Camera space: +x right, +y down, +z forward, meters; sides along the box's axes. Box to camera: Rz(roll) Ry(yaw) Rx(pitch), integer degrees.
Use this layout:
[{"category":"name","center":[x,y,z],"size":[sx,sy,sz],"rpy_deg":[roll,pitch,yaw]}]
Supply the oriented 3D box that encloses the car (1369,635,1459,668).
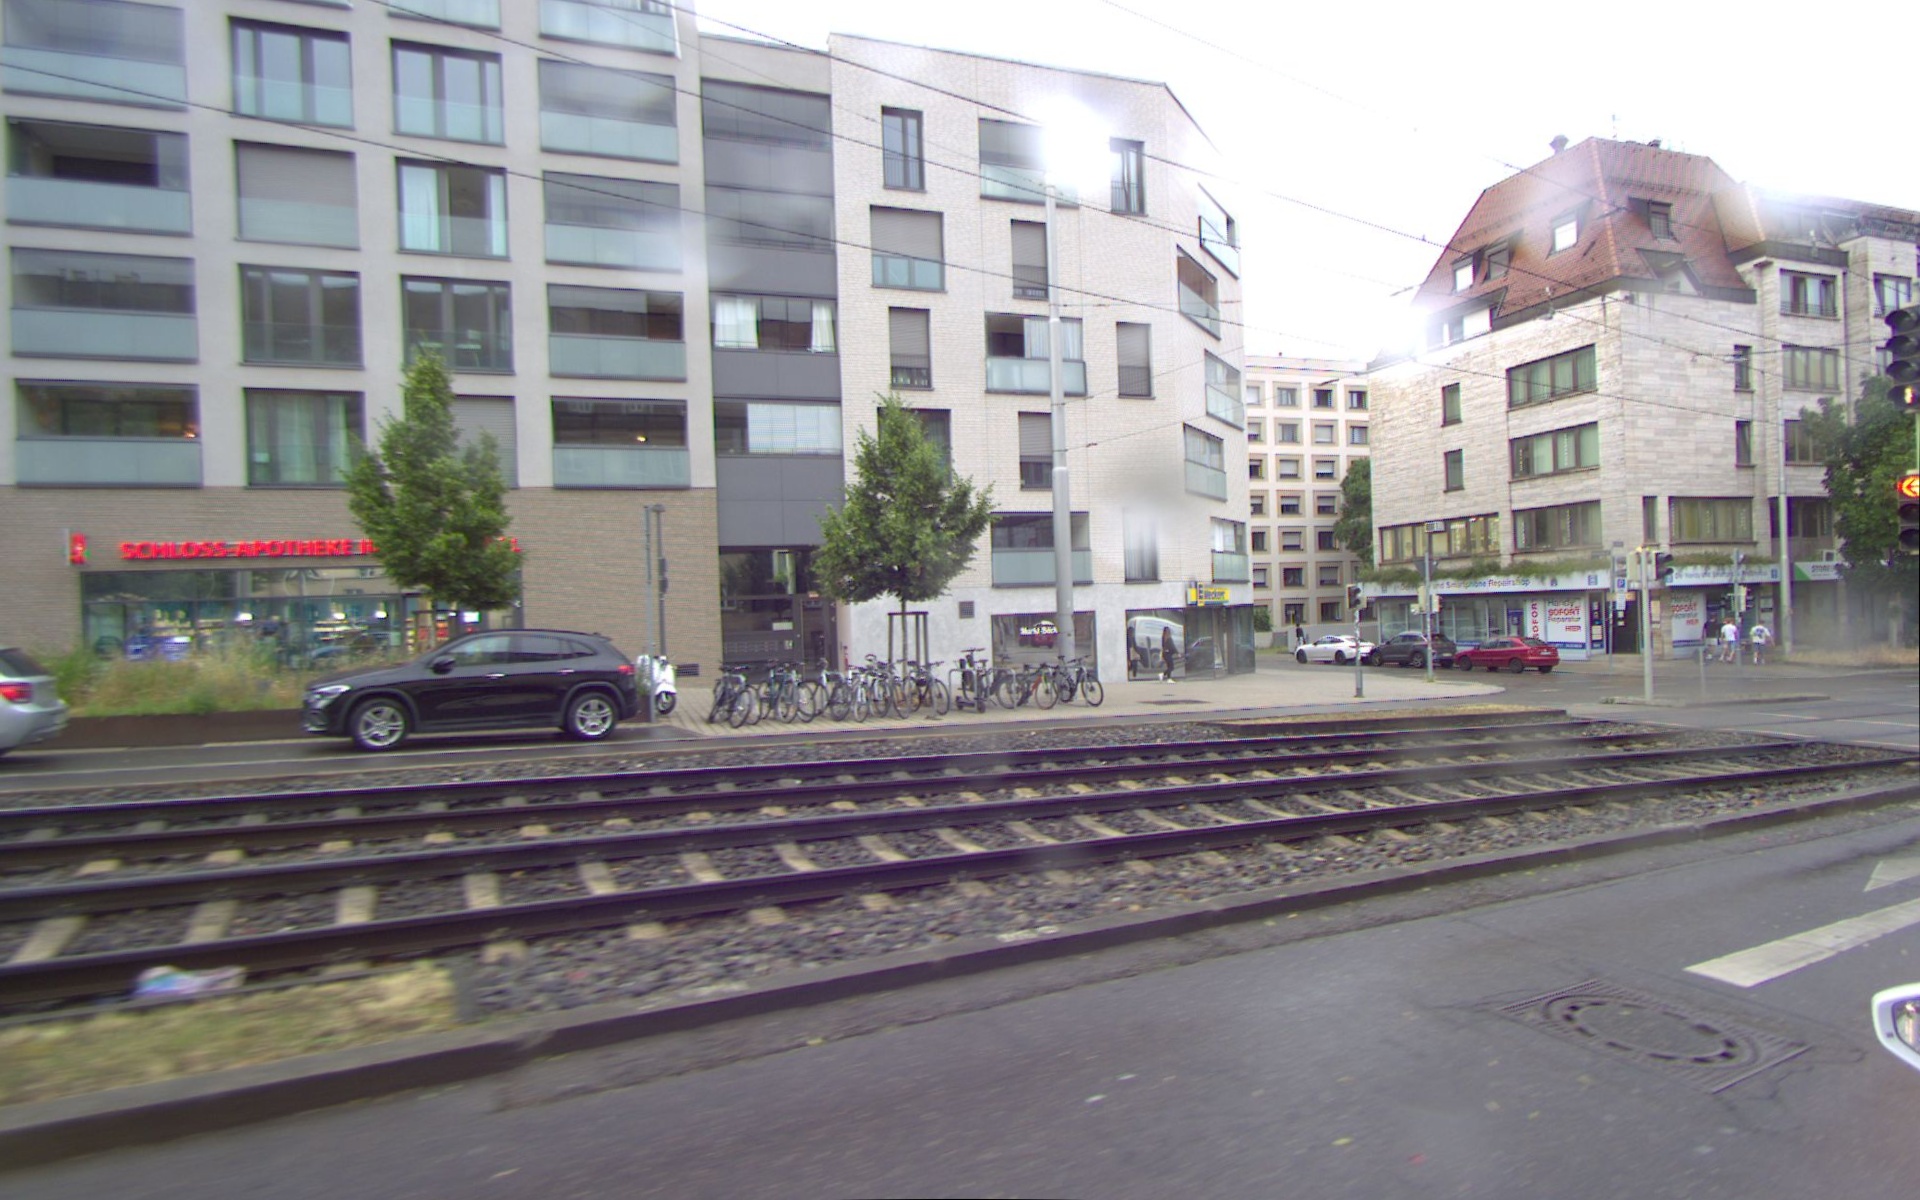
[{"category":"car","center":[20.190,2.282,44.802],"size":[1.570,1.335,3.689],"rpy_deg":[2,-2,-20]}]

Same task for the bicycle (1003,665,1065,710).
[{"category":"bicycle","center":[1.574,1.852,21.592],"size":[0.383,0.887,1.774],"rpy_deg":[2,-3,-31]}]

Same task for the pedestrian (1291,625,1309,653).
[{"category":"pedestrian","center":[19.420,2.239,57.384],"size":[0.640,1.569,0.680],"rpy_deg":[2,1,-21]}]

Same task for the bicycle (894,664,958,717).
[{"category":"bicycle","center":[-0.697,1.777,19.956],"size":[0.383,0.930,1.773],"rpy_deg":[2,-1,-33]}]

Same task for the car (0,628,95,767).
[{"category":"car","center":[-12.454,1.056,10.970],"size":[4.280,1.484,1.671],"rpy_deg":[2,-1,-31]}]

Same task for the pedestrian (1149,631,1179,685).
[{"category":"pedestrian","center":[6.202,1.755,30.528],"size":[0.637,1.590,0.775],"rpy_deg":[0,-1,33]}]

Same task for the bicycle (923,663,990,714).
[{"category":"bicycle","center":[-0.096,1.795,20.619],"size":[0.384,0.930,1.770],"rpy_deg":[2,-2,-37]}]

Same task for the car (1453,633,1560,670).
[{"category":"car","center":[21.852,2.045,40.292],"size":[1.570,1.335,3.689],"rpy_deg":[2,-2,-20]}]

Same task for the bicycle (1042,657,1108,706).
[{"category":"bicycle","center":[2.539,1.801,22.364],"size":[0.436,0.993,1.773],"rpy_deg":[2,-2,-33]}]

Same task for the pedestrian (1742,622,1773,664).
[{"category":"pedestrian","center":[30.493,1.640,38.396],"size":[0.674,1.569,0.646],"rpy_deg":[2,1,-21]}]

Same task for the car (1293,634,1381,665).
[{"category":"car","center":[18.488,2.411,49.455],"size":[1.570,1.335,4.482],"rpy_deg":[2,-2,-20]}]

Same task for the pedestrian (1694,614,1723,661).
[{"category":"pedestrian","center":[30.365,1.530,40.747],"size":[0.674,1.867,0.646],"rpy_deg":[2,1,-21]}]

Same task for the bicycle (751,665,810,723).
[{"category":"bicycle","center":[-3.302,1.692,18.345],"size":[0.383,0.930,1.773],"rpy_deg":[2,-1,-33]}]

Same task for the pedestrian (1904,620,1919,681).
[{"category":"pedestrian","center":[29.505,1.551,30.488],"size":[0.947,1.854,0.927],"rpy_deg":[2,1,-28]}]

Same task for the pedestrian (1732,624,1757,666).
[{"category":"pedestrian","center":[30.957,1.762,39.650],"size":[0.577,1.619,0.503],"rpy_deg":[2,1,-21]}]

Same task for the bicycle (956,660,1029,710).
[{"category":"bicycle","center":[0.682,1.820,21.703],"size":[1.764,0.930,0.385],"rpy_deg":[1,0,44]}]

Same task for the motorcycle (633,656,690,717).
[{"category":"motorcycle","center":[-5.663,1.617,18.983],"size":[0.537,1.056,1.749],"rpy_deg":[3,-4,-32]}]

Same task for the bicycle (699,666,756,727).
[{"category":"bicycle","center":[-4.145,1.686,17.828],"size":[0.383,0.930,1.773],"rpy_deg":[2,-1,-33]}]

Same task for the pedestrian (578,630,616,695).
[{"category":"pedestrian","center":[-8.532,1.467,23.625],"size":[0.790,1.468,0.539],"rpy_deg":[2,1,-18]}]

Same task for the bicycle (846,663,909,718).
[{"category":"bicycle","center":[-1.603,1.716,19.309],"size":[0.383,0.930,1.773],"rpy_deg":[2,-1,-33]}]

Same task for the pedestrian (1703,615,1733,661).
[{"category":"pedestrian","center":[29.920,1.487,39.664],"size":[0.674,1.772,0.646],"rpy_deg":[2,1,-21]}]

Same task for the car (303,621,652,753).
[{"category":"car","center":[-6.821,1.169,14.458],"size":[4.280,1.625,1.671],"rpy_deg":[2,-1,-31]}]

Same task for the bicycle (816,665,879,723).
[{"category":"bicycle","center":[-2.085,1.700,18.424],"size":[0.383,0.930,1.773],"rpy_deg":[2,-2,-33]}]

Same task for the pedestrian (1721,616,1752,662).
[{"category":"pedestrian","center":[30.153,1.522,39.008],"size":[0.674,1.747,0.646],"rpy_deg":[2,1,-21]}]
